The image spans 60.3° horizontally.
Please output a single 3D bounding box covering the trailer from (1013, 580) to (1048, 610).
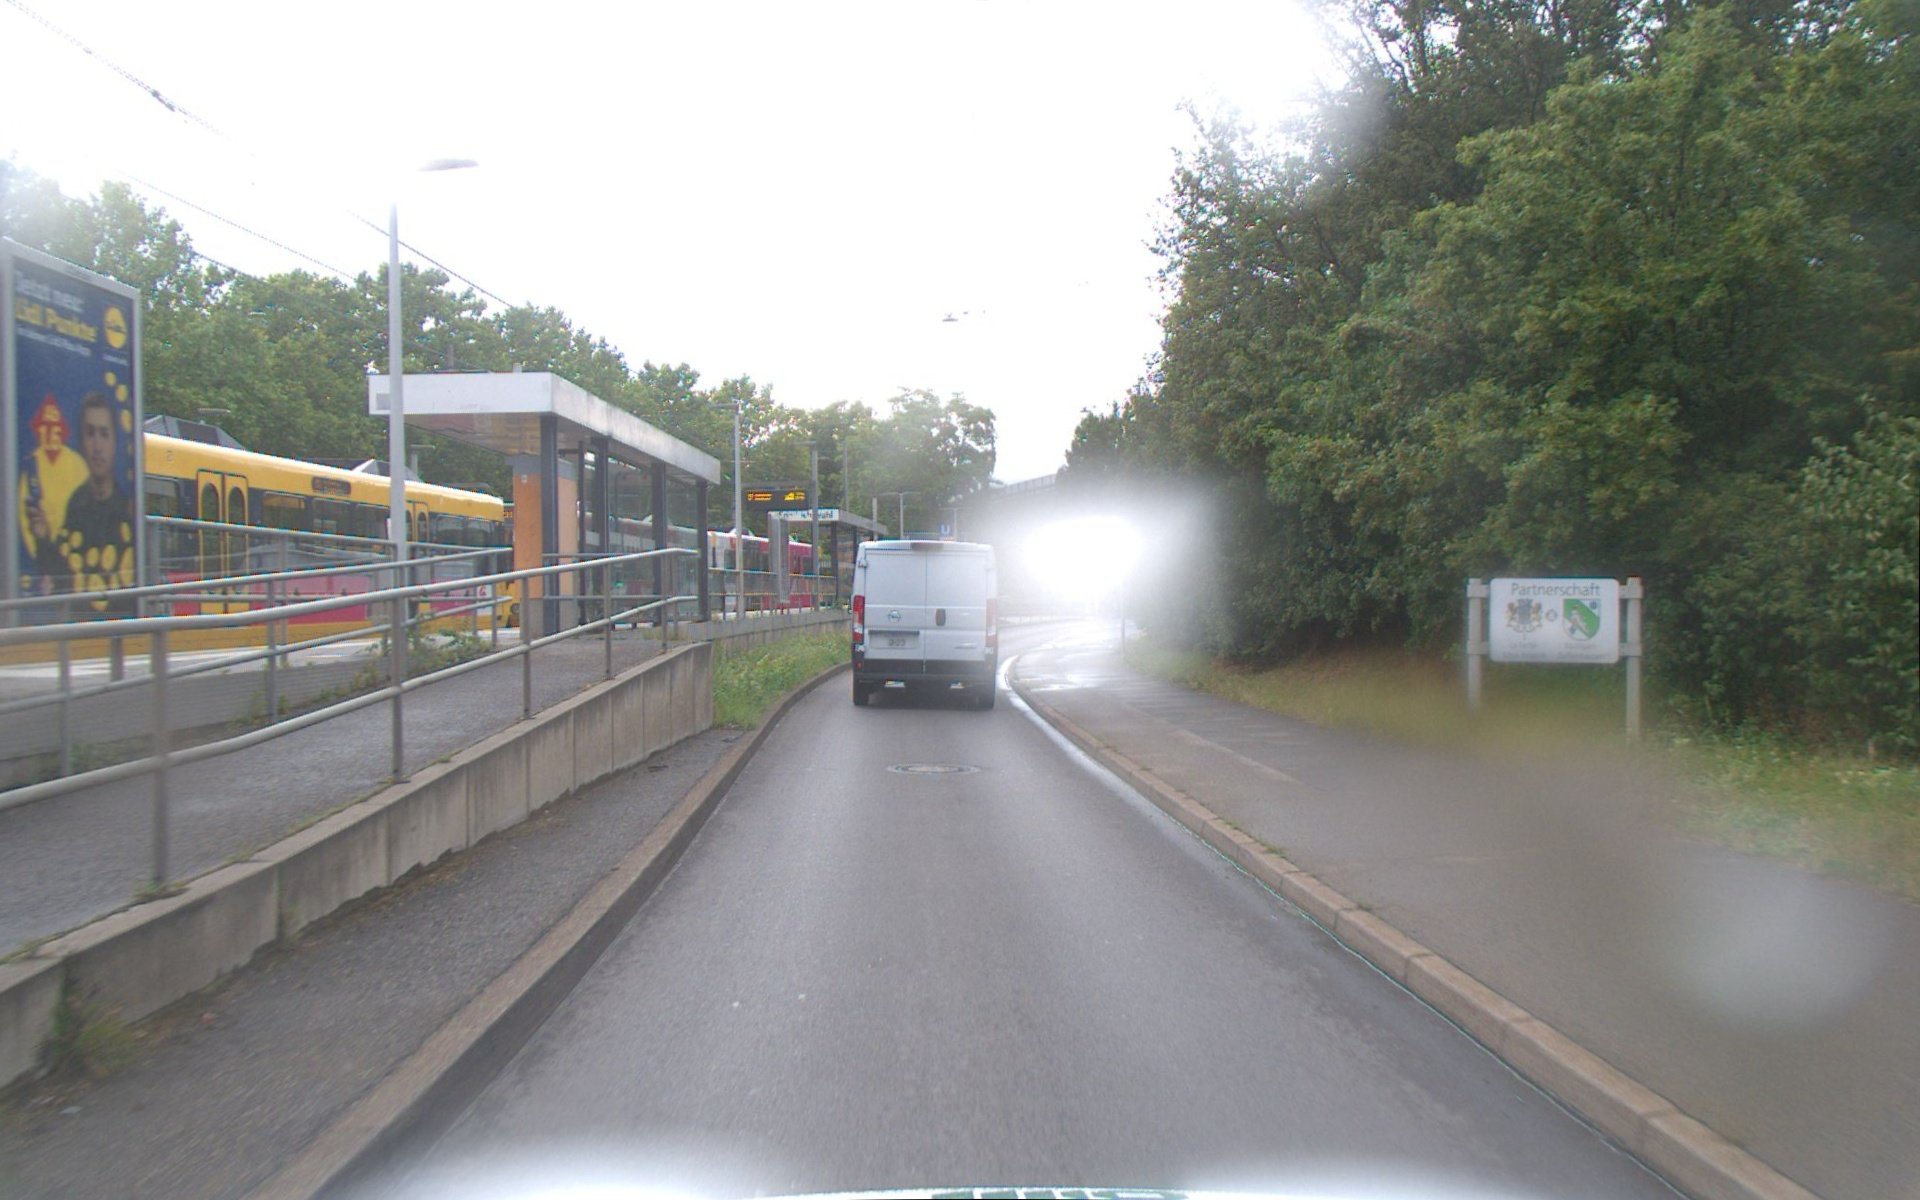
[{"bbox_3d":[6.650,-0.454,155.945,1.963,2.773,4.102,1,-1,-18],"label":"trailer"}]

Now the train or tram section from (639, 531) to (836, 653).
[{"bbox_3d":[-8.230,-0.145,65.353,2.807,4.030,19.344,1,-1,7],"label":"train or tram section"}]

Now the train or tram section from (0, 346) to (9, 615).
[{"bbox_3d":[-11.260,-0.715,7.457,2.809,4.042,19.327,2,-1,0],"label":"train or tram section"}]

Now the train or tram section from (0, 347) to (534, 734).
[{"bbox_3d":[-11.132,-0.555,26.813,2.808,4.023,19.334,2,-1,2],"label":"train or tram section"}]

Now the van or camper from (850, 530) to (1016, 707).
[{"bbox_3d":[-0.409,0.268,24.360,2.154,2.292,4.682,2,-1,-1],"label":"van or camper"}]

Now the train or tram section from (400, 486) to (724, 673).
[{"bbox_3d":[-10.157,-0.351,46.117,2.807,4.040,19.340,2,-1,5],"label":"train or tram section"}]
